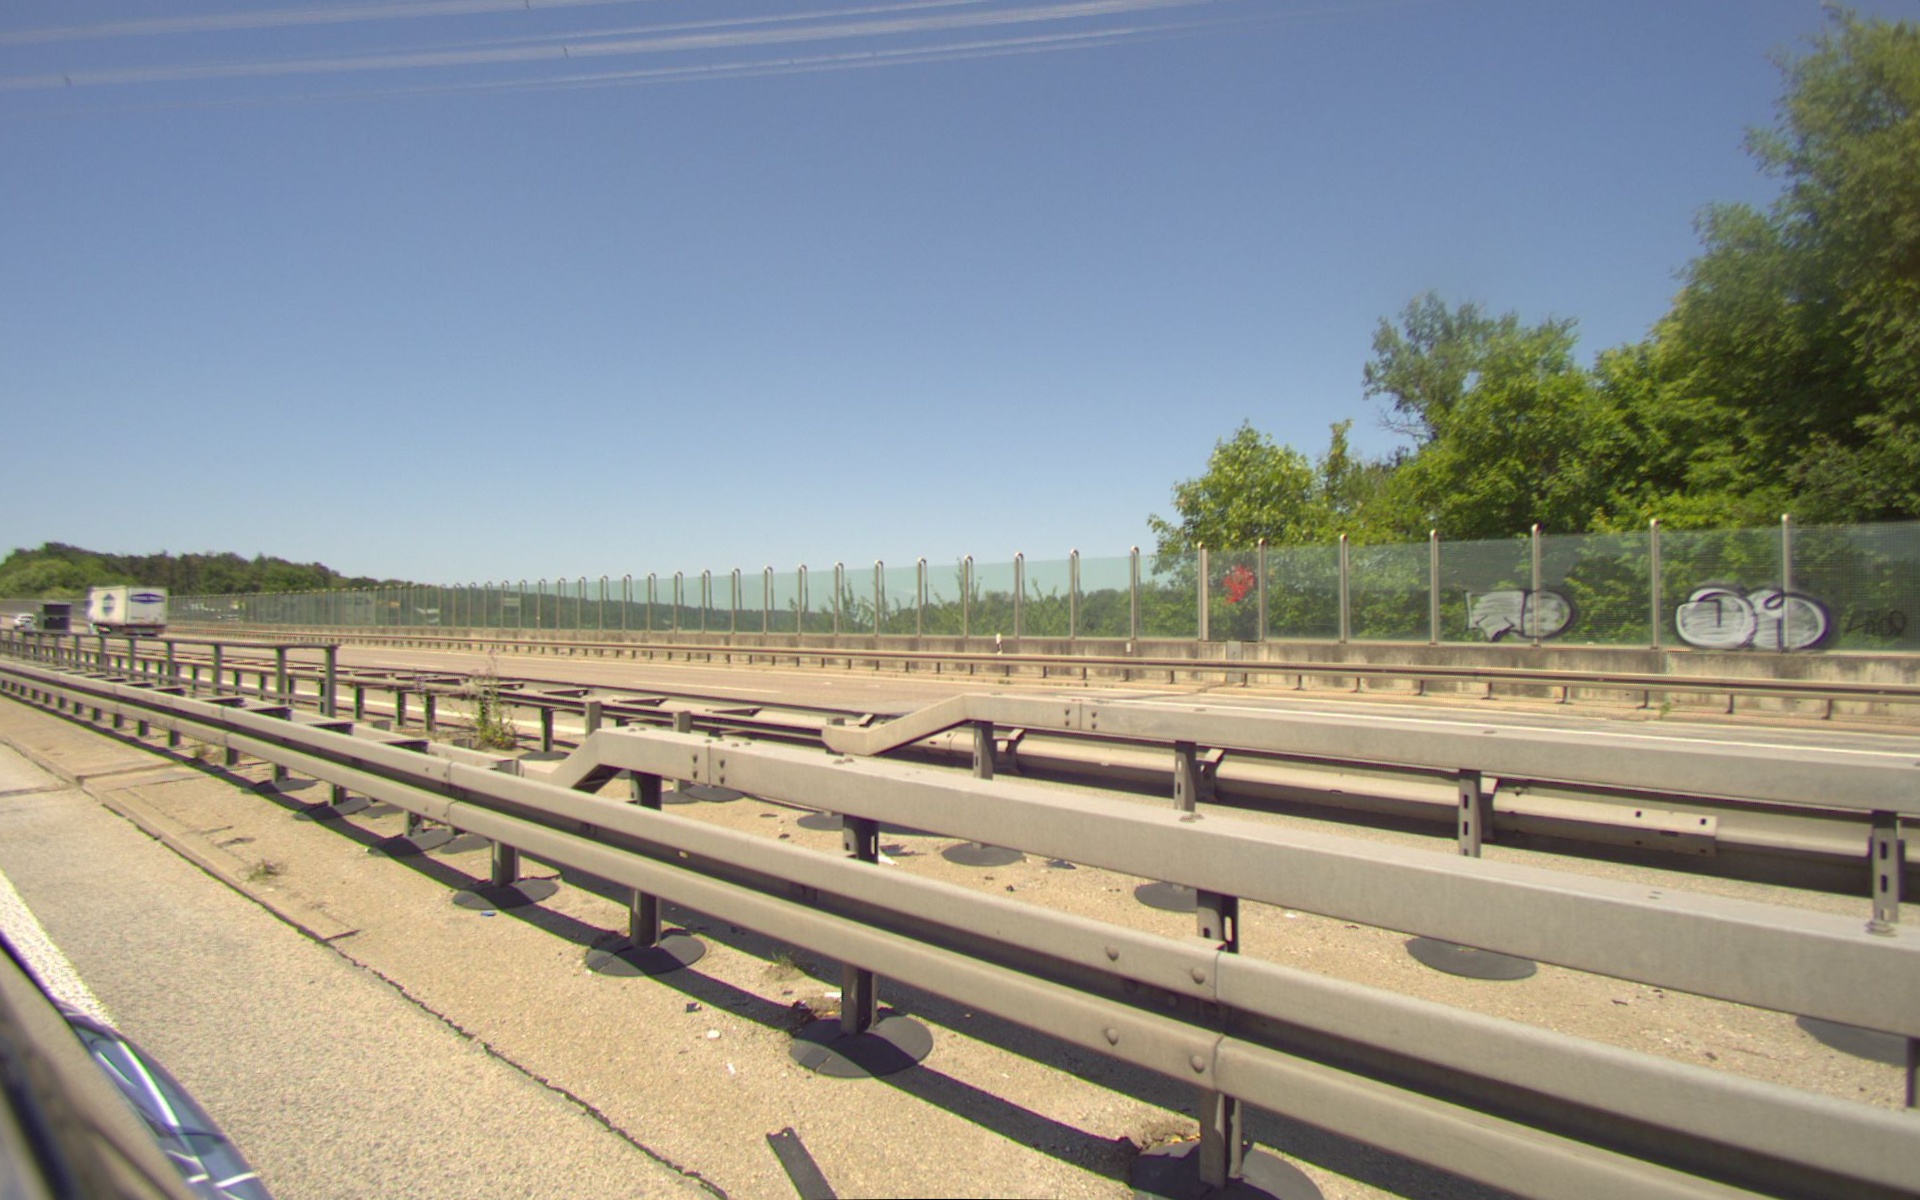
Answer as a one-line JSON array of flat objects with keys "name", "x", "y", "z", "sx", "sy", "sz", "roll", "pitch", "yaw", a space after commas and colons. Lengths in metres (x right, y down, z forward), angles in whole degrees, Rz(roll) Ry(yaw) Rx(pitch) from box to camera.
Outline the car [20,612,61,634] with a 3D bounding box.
[{"name": "car", "x": -72.677, "y": 1.795, "z": 79.952, "sx": 4.627, "sy": 1.637, "sz": 1.851, "roll": 0, "pitch": -2, "yaw": 41}]

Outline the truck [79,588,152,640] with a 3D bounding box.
[{"name": "truck", "x": -71.174, "y": 1.221, "z": 85.275, "sx": 4.856, "sy": 4.260, "sz": 3.964, "roll": -1, "pitch": -2, "yaw": 41}]

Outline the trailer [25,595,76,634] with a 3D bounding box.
[{"name": "trailer", "x": -69.015, "y": 1.102, "z": 76.739, "sx": 5.374, "sy": 2.798, "sz": 2.143, "roll": 0, "pitch": -4, "yaw": 41}]

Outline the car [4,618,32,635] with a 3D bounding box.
[{"name": "car", "x": -100.644, "y": 2.829, "z": 108.113, "sx": 4.383, "sy": 1.709, "sz": 1.731, "roll": 0, "pitch": -2, "yaw": 42}]

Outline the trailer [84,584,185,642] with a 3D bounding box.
[{"name": "trailer", "x": -65.726, "y": 1.096, "z": 80.403, "sx": 14.034, "sy": 4.267, "sz": 3.947, "roll": -1, "pitch": -2, "yaw": 41}]
